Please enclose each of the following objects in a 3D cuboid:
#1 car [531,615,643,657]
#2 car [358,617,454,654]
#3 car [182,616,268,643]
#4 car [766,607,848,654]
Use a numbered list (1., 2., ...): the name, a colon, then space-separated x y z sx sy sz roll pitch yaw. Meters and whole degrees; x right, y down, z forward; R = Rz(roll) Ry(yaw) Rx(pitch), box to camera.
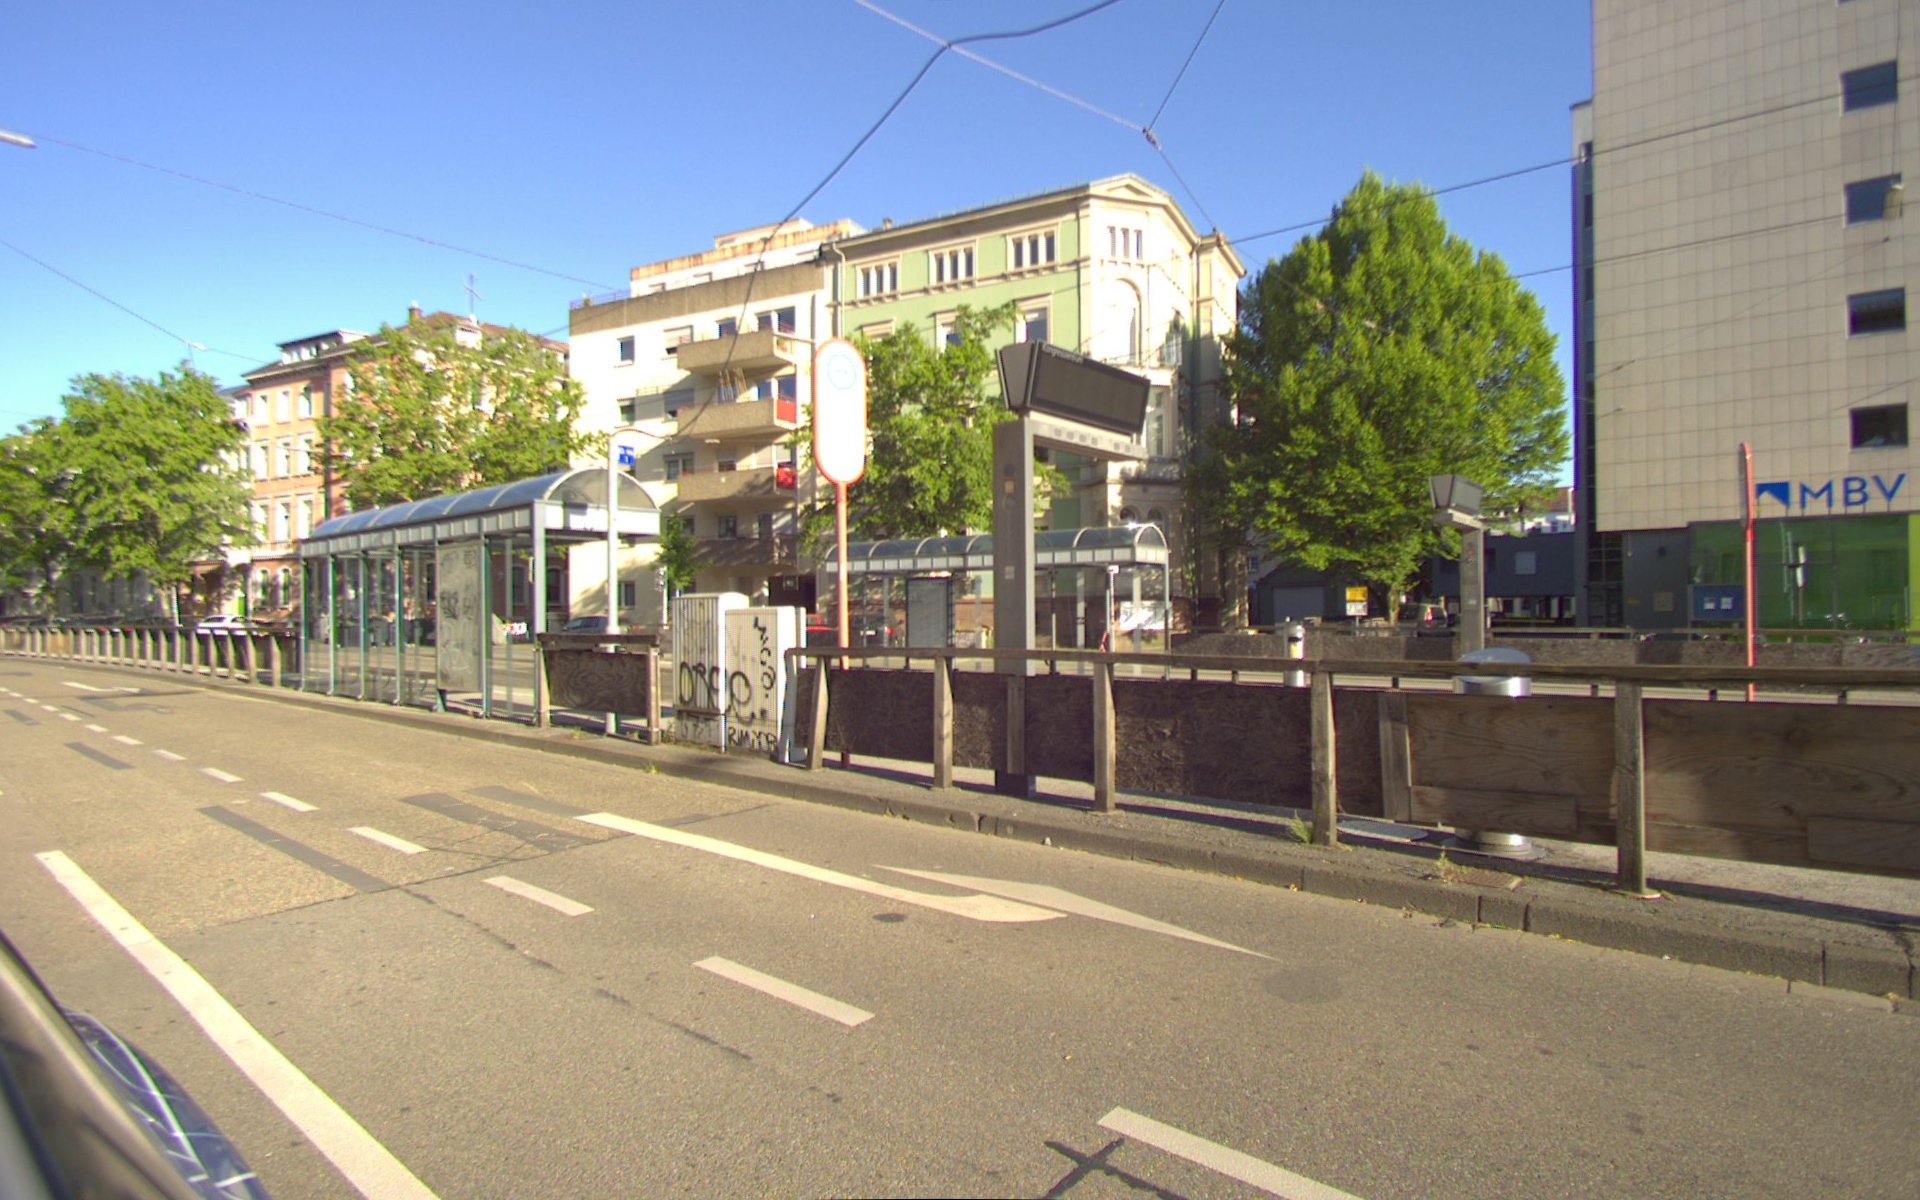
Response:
1. car: -14.197 1.373 38.509 3.987 1.542 1.978 -1 -3 32
2. car: -23.922 1.506 43.708 3.987 1.541 1.978 -1 -2 32
3. car: -39.226 1.574 54.105 1.565 1.360 3.631 0 -1 11
4. car: -6.960 1.374 46.318 1.791 2.029 3.963 -1 -1 27
